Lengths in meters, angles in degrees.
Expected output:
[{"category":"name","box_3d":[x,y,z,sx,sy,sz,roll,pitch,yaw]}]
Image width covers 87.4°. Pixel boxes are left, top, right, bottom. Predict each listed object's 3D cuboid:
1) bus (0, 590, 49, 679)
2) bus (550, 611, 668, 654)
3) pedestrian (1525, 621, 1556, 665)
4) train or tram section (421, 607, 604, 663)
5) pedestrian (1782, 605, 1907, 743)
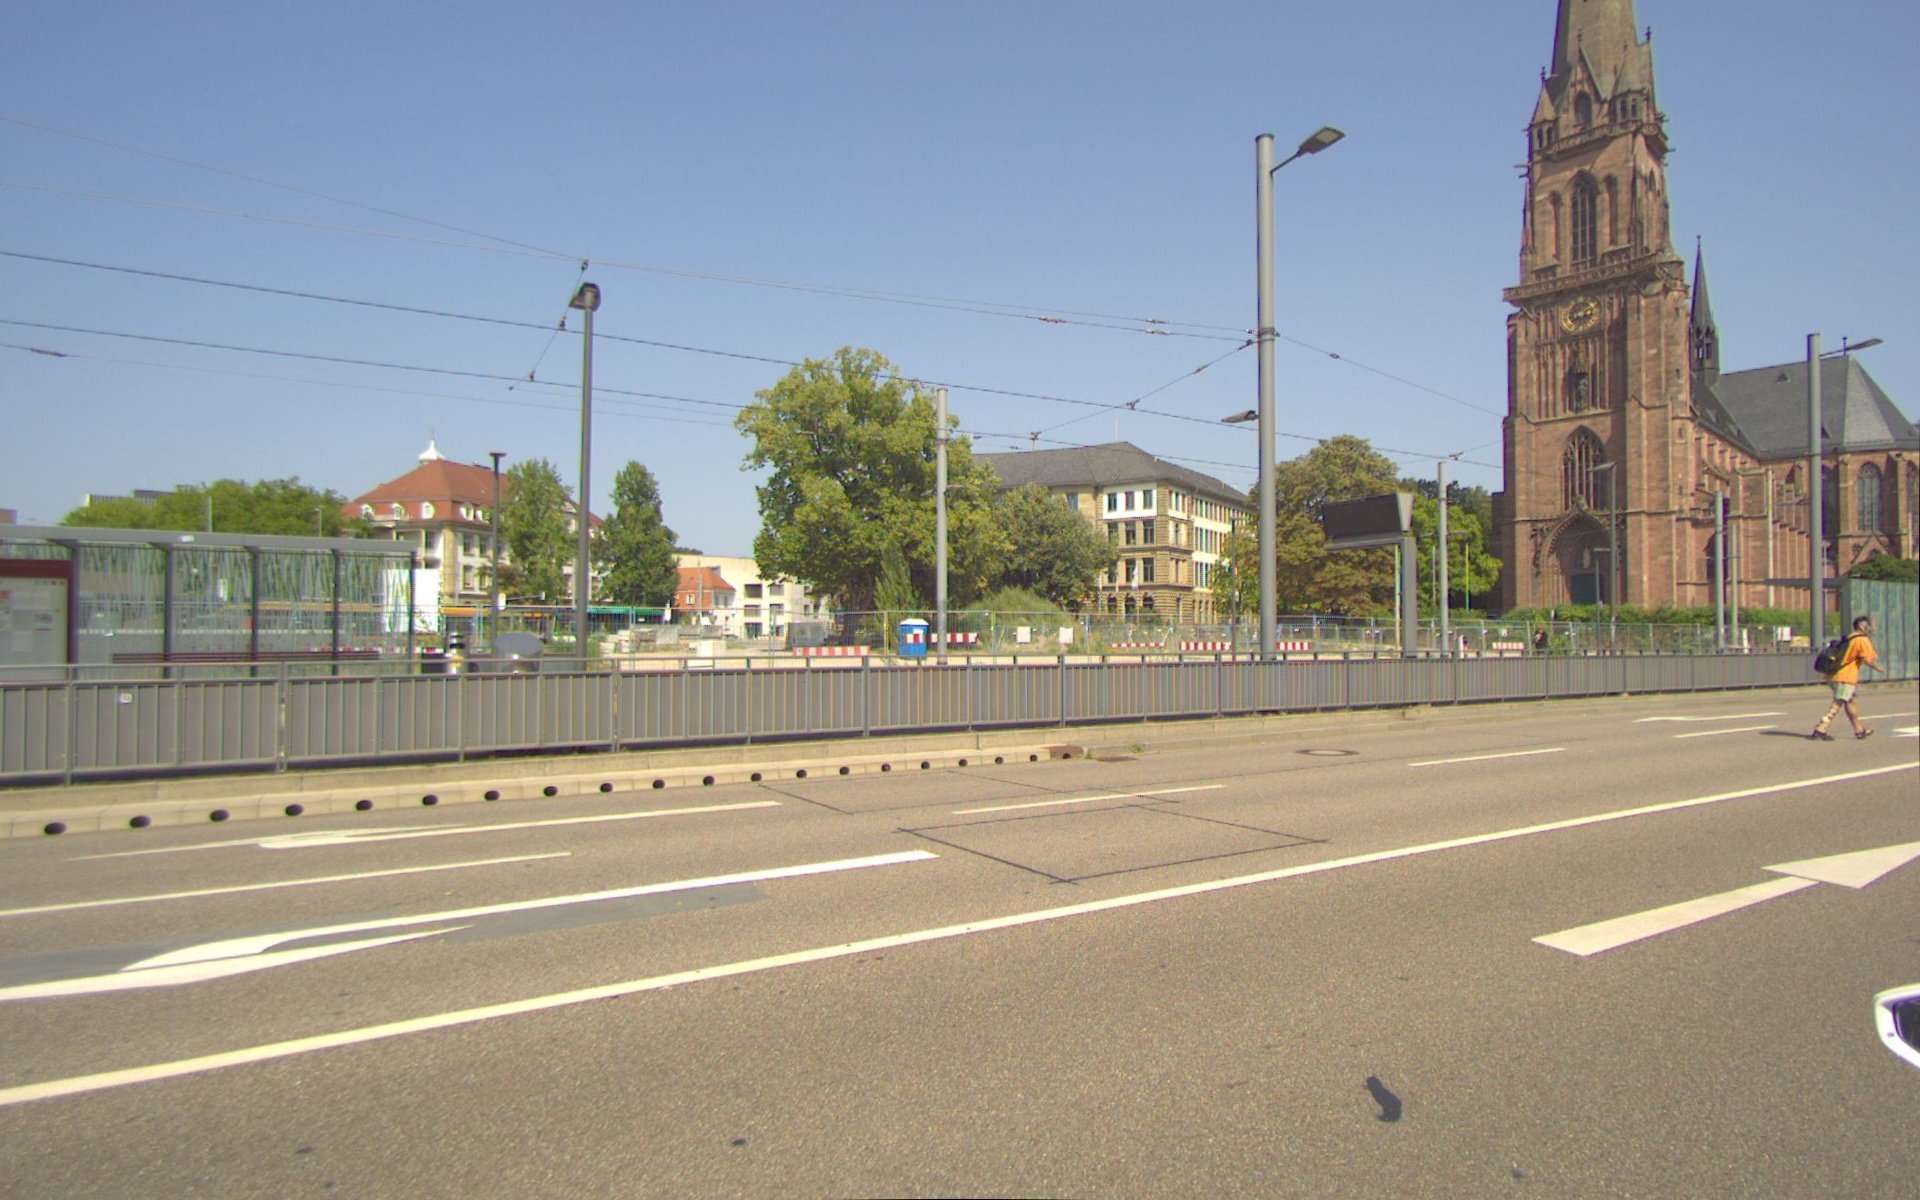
[{"category":"bus","box_3d":[-38.652,1.217,33.578,2.623,3.375,12.765,0,-1,14]},{"category":"bus","box_3d":[-27.748,2.512,80.447,2.491,3.072,12.442,-2,-1,14]},{"category":"pedestrian","box_3d":[23.640,1.737,40.919,0.712,1.774,0.825,2,-2,-29]},{"category":"train or tram section","box_3d":[-35.416,2.891,81.030,3.982,3.972,16.683,-2,-3,14]},{"category":"pedestrian","box_3d":[11.836,0.971,13.484,1.048,1.774,0.763,0,-2,25]}]
